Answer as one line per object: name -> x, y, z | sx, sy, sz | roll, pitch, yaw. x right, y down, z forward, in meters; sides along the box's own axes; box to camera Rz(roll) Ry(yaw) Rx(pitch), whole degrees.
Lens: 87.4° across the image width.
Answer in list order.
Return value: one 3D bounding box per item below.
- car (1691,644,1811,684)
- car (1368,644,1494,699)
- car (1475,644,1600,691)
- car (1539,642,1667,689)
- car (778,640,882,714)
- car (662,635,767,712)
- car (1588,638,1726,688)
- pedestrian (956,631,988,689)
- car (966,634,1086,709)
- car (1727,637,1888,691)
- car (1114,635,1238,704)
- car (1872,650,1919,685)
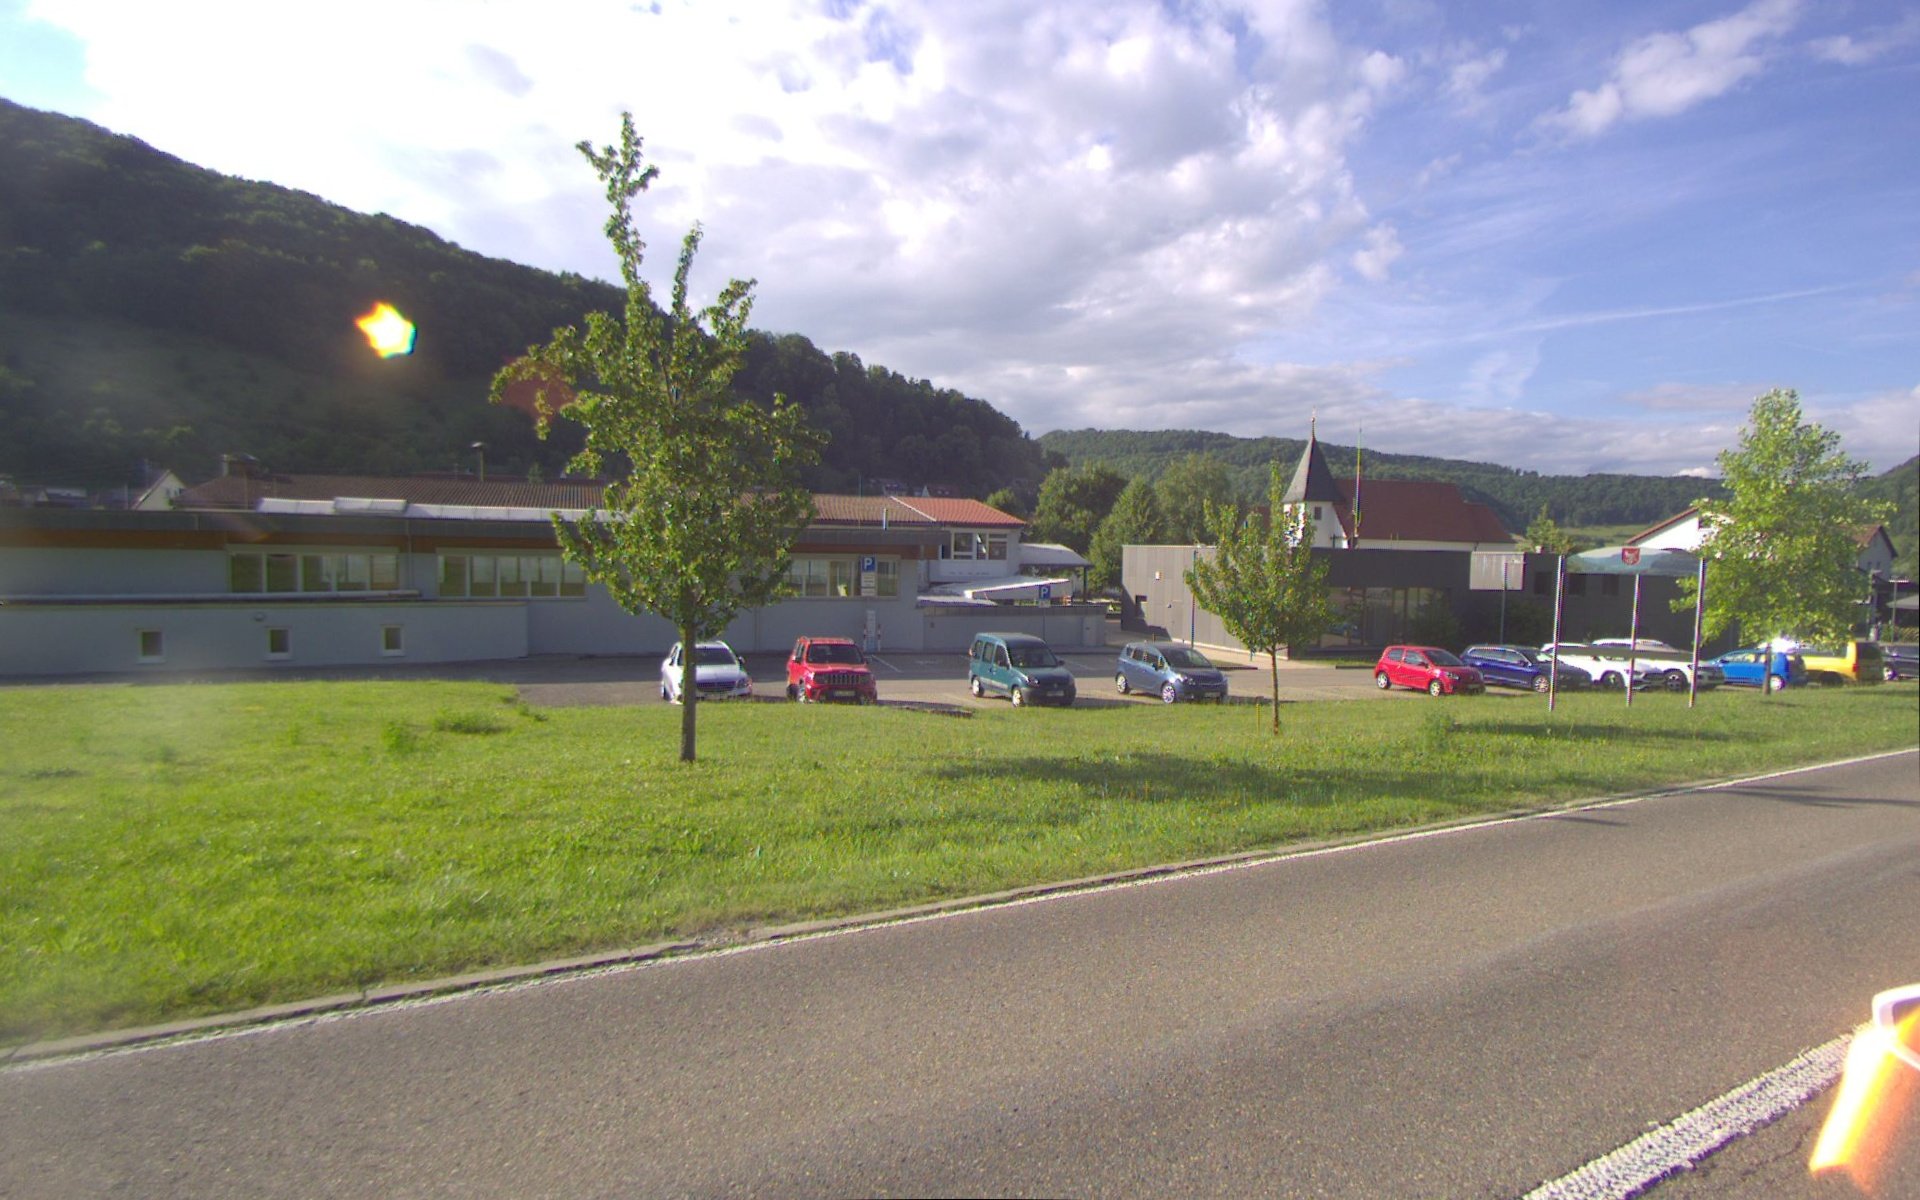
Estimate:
car -> 31.126, 2.492, 39.594 | 1.639, 1.392, 3.357 | 1, -1, -27
car -> 15.256, 2.269, 32.724 | 1.623, 1.463, 3.619 | 0, 1, -20
car -> 19.829, 2.290, 34.640 | 1.572, 1.423, 3.620 | 1, -1, -20
car -> 22.788, 2.293, 35.716 | 1.572, 1.513, 3.662 | 1, -1, -20
car -> -3.349, 1.879, 25.329 | 1.730, 1.600, 3.914 | 1, -1, -21
car -> -6.210, 1.744, 25.037 | 1.970, 1.610, 4.633 | 1, -1, -21
car -> 25.701, 2.278, 37.189 | 1.572, 1.695, 4.072 | 1, -1, -20
pedestrian -> 0.352, 1.849, 30.864 | 0.694, 1.716, 0.793 | 2, 1, -21
car -> 1.715, 1.887, 27.422 | 1.731, 1.745, 3.853 | 1, 0, -23
car -> 33.505, 2.477, 39.879 | 1.816, 1.839, 4.539 | 2, 0, -25
car -> 6.128, 1.947, 28.963 | 1.706, 1.744, 3.812 | 1, -1, -21
car -> 42.615, 2.994, 43.974 | 1.486, 1.458, 3.708 | 1, -1, -20
